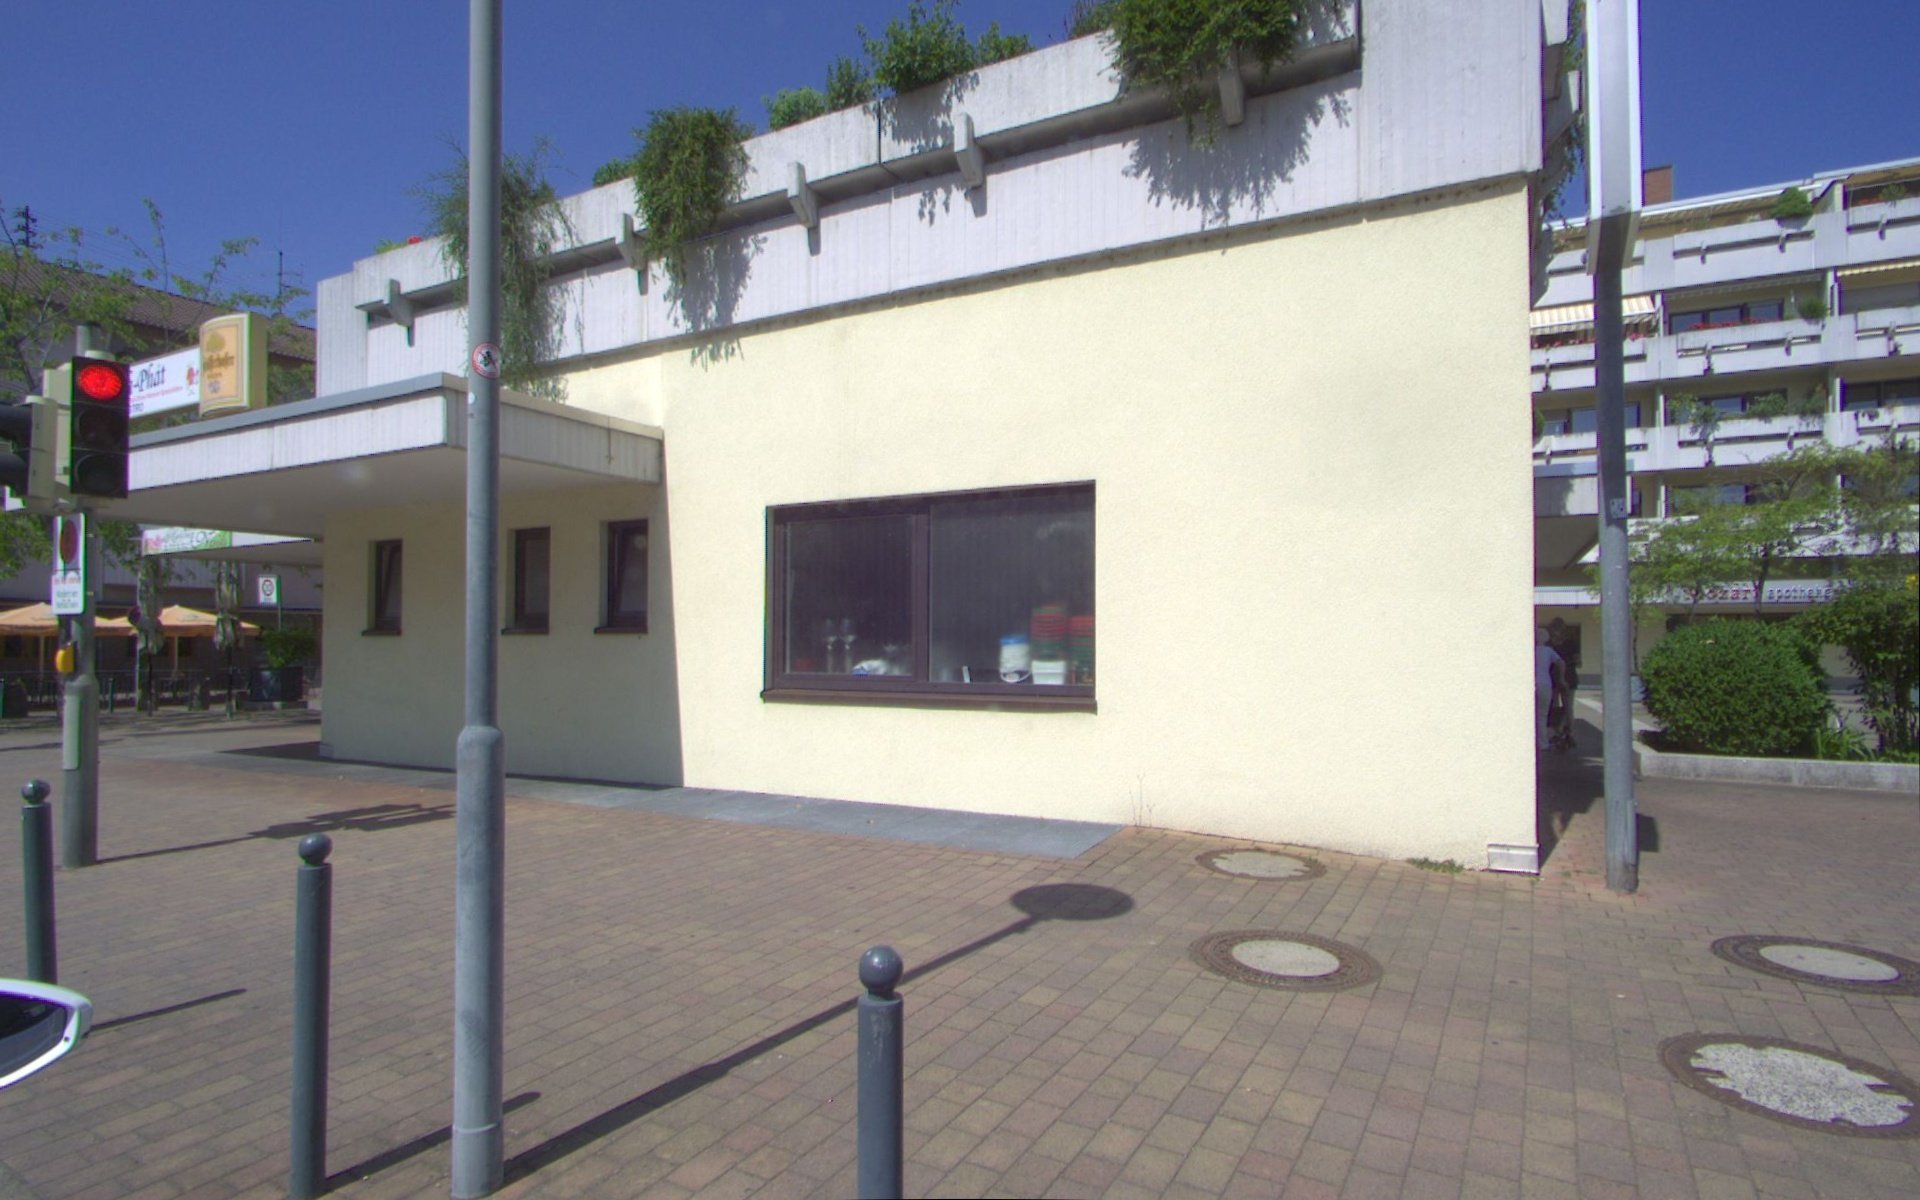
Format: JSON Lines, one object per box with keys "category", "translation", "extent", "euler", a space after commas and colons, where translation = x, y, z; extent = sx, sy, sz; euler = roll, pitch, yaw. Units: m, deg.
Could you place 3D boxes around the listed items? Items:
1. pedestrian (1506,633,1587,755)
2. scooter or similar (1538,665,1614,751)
{"category": "pedestrian", "translation": [7.547, 1.186, 12.883], "extent": [0.801, 1.516, 0.615], "euler": [1, -2, -35]}
{"category": "scooter or similar", "translation": [8.199, 1.415, 13.323], "extent": [0.795, 1.088, 0.587], "euler": [2, -2, -35]}
